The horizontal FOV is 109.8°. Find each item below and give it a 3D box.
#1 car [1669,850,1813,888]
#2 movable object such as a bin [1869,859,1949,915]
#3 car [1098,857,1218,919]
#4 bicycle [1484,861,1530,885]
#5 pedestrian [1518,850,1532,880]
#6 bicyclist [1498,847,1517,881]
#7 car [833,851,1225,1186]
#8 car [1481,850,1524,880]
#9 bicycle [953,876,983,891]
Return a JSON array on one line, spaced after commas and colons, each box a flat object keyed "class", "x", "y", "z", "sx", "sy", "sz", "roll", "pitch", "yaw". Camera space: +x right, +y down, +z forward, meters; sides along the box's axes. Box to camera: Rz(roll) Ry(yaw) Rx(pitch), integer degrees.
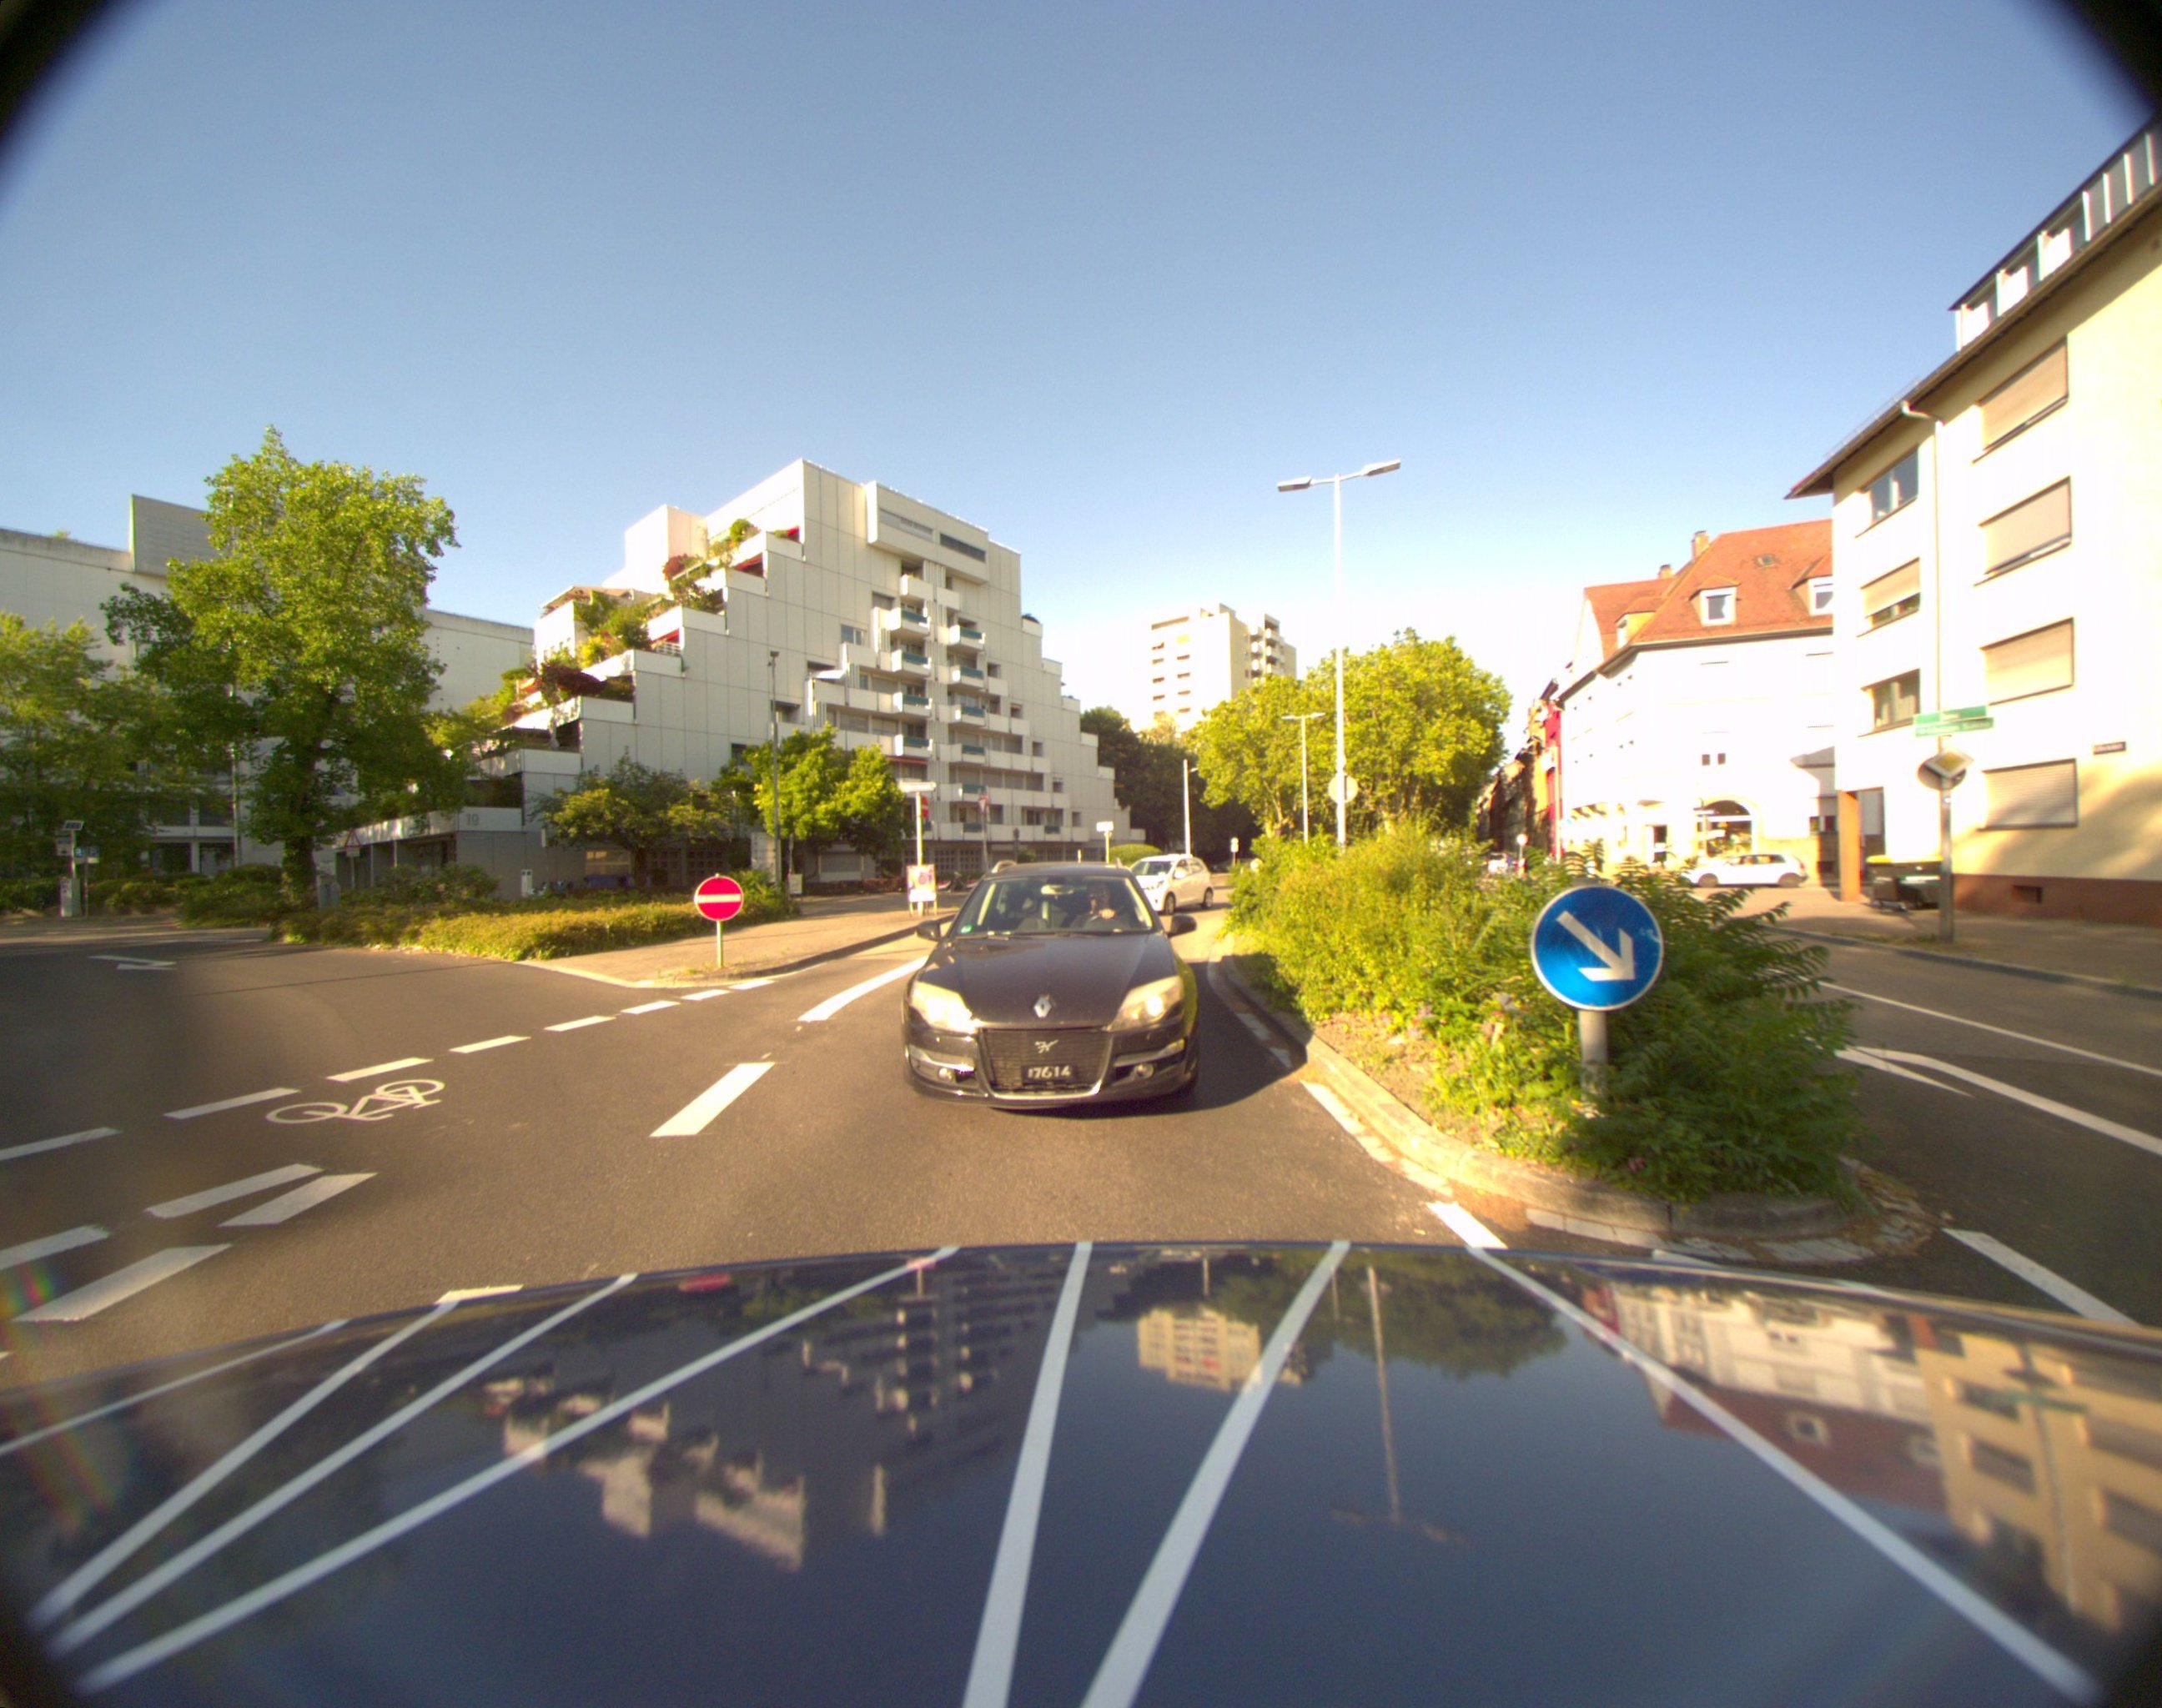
[{"class": "car", "x": 27.401, "y": 0.610, "z": 31.731, "sx": 4.196, "sy": 1.502, "sz": 1.804, "roll": -1, "pitch": 0, "yaw": 22}, {"class": "movable object such as a bin", "x": 19.855, "y": 0.766, "z": 18.253, "sx": 1.032, "sy": 1.278, "sz": 1.064, "roll": -1, "pitch": 0, "yaw": 31}, {"class": "car", "x": 2.112, "y": 0.838, "z": 20.119, "sx": 1.650, "sy": 1.445, "sz": 3.542, "roll": -1, "pitch": 0, "yaw": 34}, {"class": "bicycle", "x": 20.015, "y": 0.877, "z": 35.710, "sx": 1.865, "sy": 1.083, "sz": 0.629, "roll": -1, "pitch": 0, "yaw": 29}, {"class": "pedestrian", "x": 25.341, "y": 0.635, "z": 43.394, "sx": 0.672, "sy": 1.702, "sz": 0.714, "roll": -1, "pitch": 1, "yaw": 29}, {"class": "bicyclist", "x": 20.039, "y": 0.463, "z": 35.694, "sx": 0.749, "sy": 1.544, "sz": 0.631, "roll": -1, "pitch": 0, "yaw": 29}, {"class": "car", "x": -0.322, "y": 0.827, "z": 5.972, "sx": 1.845, "sy": 1.536, "sz": 4.523, "roll": -3, "pitch": -1, "yaw": -2}, {"class": "car", "x": 26.870, "y": 0.679, "z": 48.541, "sx": 1.895, "sy": 1.782, "sz": 4.006, "roll": -1, "pitch": 0, "yaw": 21}, {"class": "bicycle", "x": -6.092, "y": 1.571, "z": 40.991, "sx": 1.575, "sy": 0.780, "sz": 0.464, "roll": -1, "pitch": 0, "yaw": -4}]
